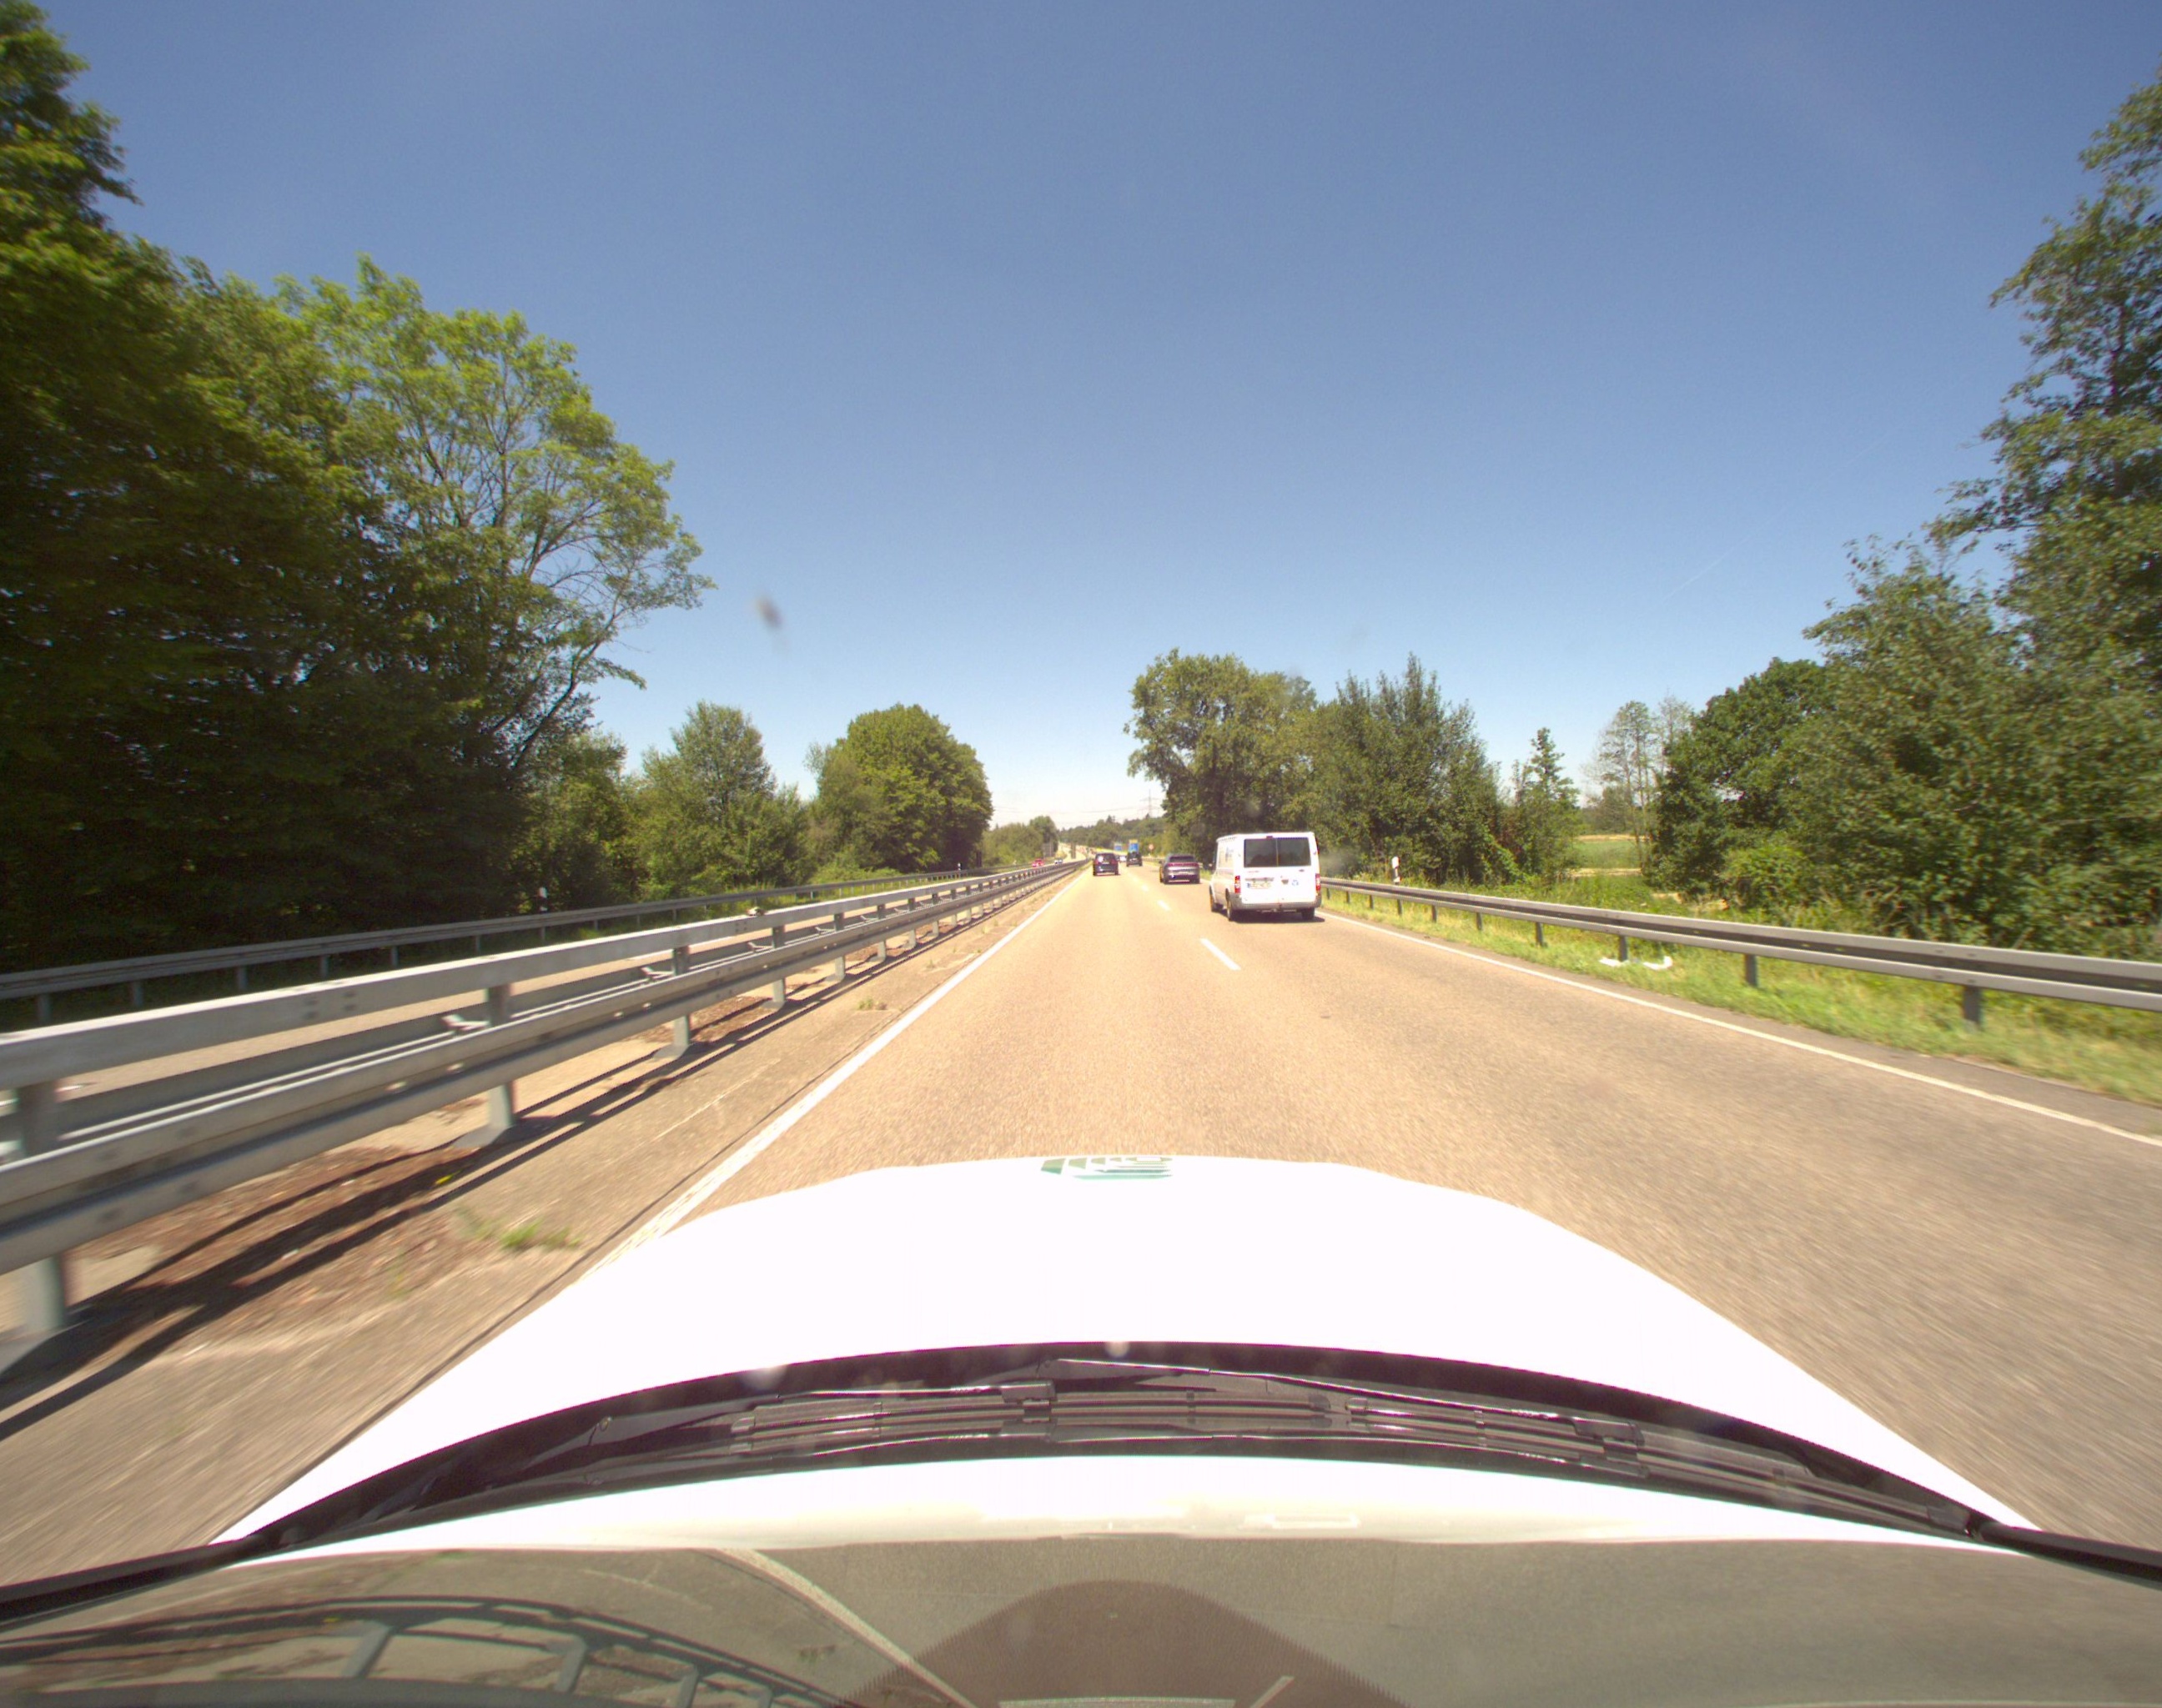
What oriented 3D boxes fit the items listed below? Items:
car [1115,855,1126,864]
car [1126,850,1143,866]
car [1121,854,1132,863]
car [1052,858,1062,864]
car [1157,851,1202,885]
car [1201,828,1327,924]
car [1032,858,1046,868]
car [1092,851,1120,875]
[{"bbox_3d":[7.546,1.073,156.561,1.813,1.414,4.001,-3,1,1],"label":"car"},{"bbox_3d":[6.264,0.459,96.134,1.773,1.816,4.214,-3,1,1],"label":"car"},{"bbox_3d":[7.965,0.777,142.823,1.773,1.479,4.315,0,1,0],"label":"car"},{"bbox_3d":[-5.451,1.602,185.201,1.790,1.468,3.775,-1,0,2],"label":"car"},{"bbox_3d":[4.984,0.693,41.568,1.779,1.553,4.019,-2,1,0],"label":"car"},{"bbox_3d":[4.294,0.496,19.982,1.999,1.989,5.035,-2,-1,1],"label":"car"},{"bbox_3d":[-6.670,1.442,128.736,1.769,1.419,4.576,-3,0,1],"label":"car"},{"bbox_3d":[1.852,0.670,61.224,1.987,1.654,3.999,-2,0,0],"label":"car"}]
